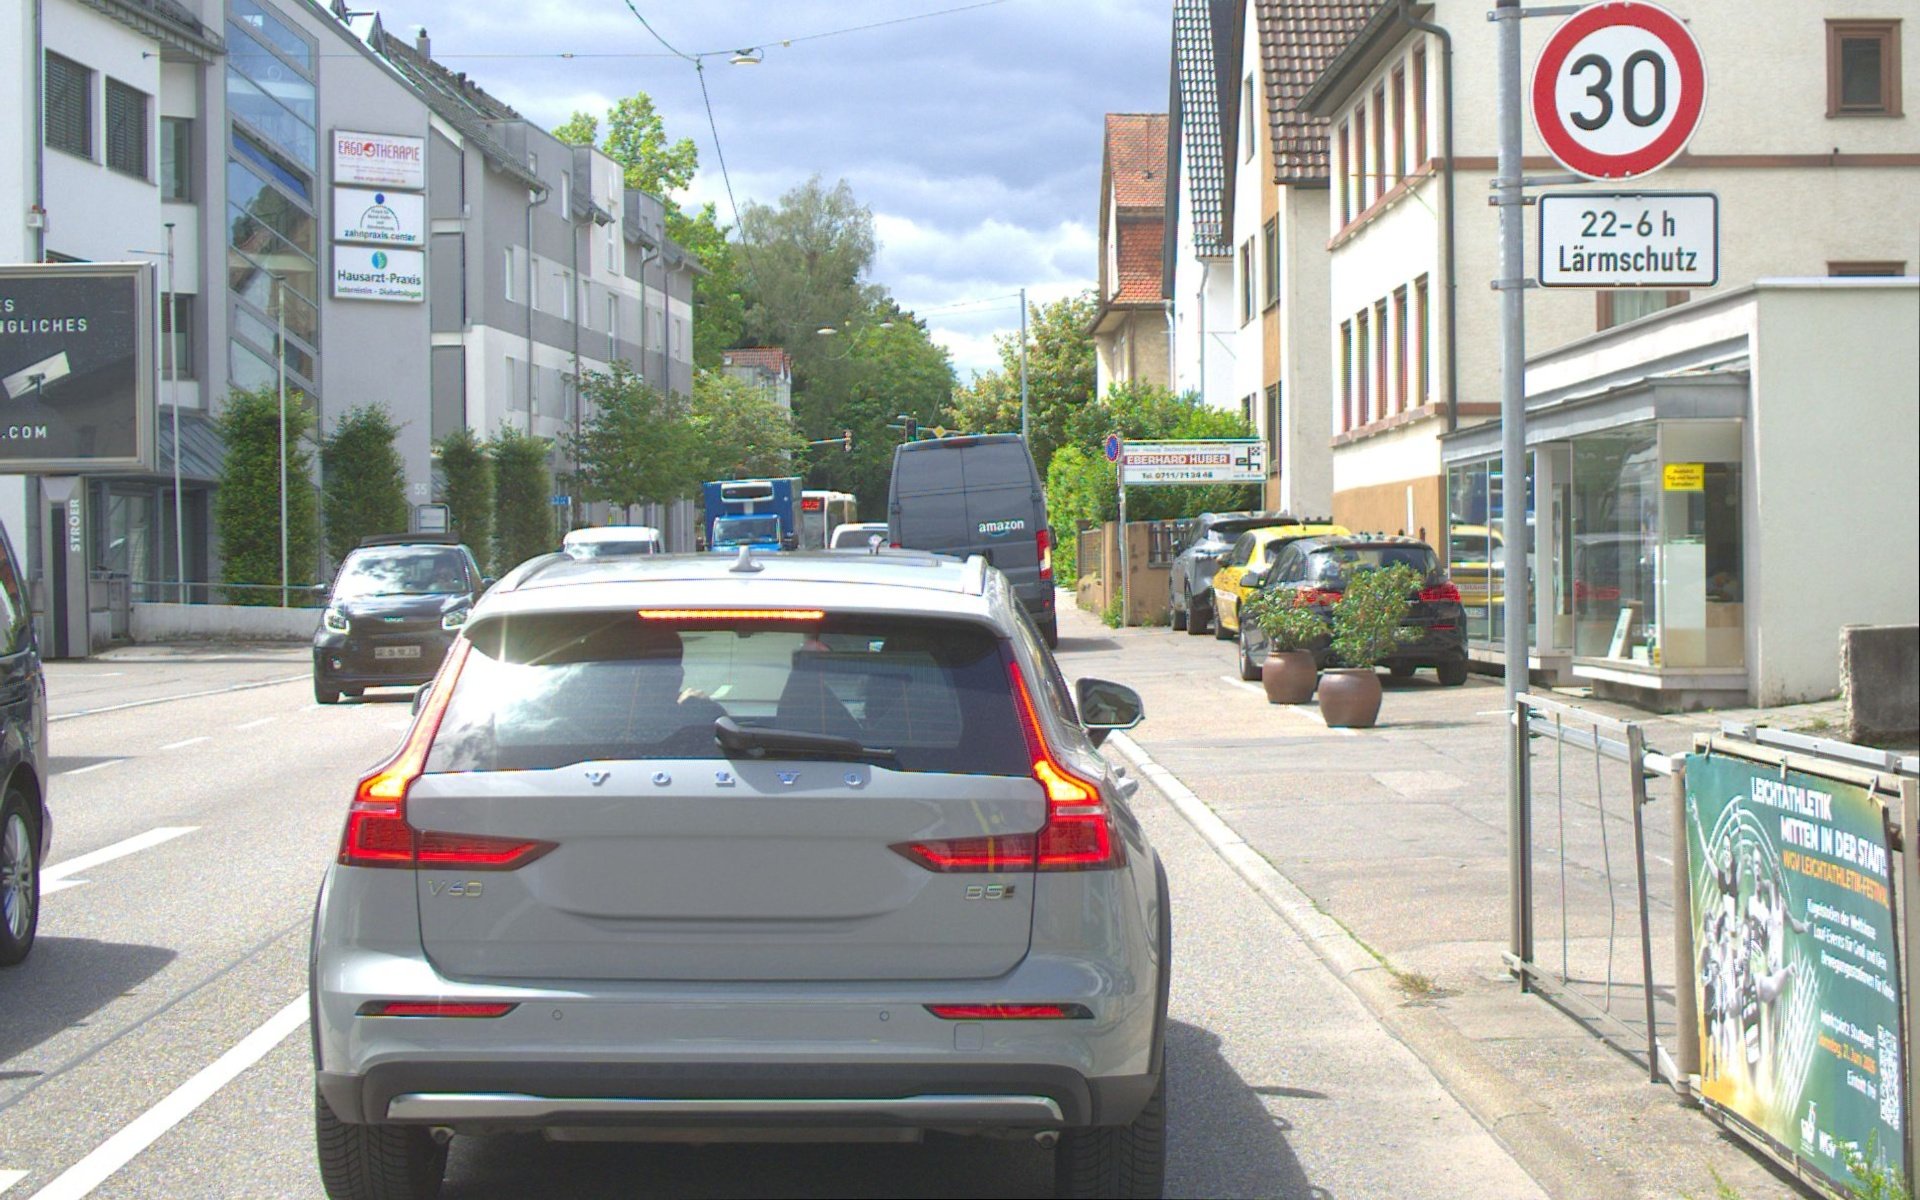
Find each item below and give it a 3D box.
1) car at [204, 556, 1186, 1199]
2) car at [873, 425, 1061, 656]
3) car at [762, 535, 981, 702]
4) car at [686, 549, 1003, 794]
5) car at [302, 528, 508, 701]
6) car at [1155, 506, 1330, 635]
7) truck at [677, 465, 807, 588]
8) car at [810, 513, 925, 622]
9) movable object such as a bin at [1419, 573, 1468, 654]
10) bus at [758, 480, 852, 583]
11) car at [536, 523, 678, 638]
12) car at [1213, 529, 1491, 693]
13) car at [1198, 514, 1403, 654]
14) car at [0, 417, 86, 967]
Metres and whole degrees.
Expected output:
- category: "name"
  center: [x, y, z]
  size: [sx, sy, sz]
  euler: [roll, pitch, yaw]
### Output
- category: "car"
  center: [-0.479, 0.635, 8.632]
  size: [1.896, 1.448, 3.968]
  euler: [0, 1, 1]
- category: "car"
  center: [0.057, -0.785, 44.997]
  size: [2.252, 2.786, 5.569]
  euler: [-1, 1, -1]
- category: "car"
  center: [-0.765, 0.125, 31.920]
  size: [1.896, 1.441, 3.969]
  euler: [0, 1, 0]
- category: "car"
  center: [-0.670, 0.399, 22.592]
  size: [1.896, 1.441, 3.969]
  euler: [0, 1, 1]
- category: "car"
  center: [-5.481, 0.111, 34.240]
  size: [1.676, 1.629, 2.834]
  euler: [-1, 1, -2]
- category: "car"
  center: [3.782, -0.435, 46.785]
  size: [1.860, 1.606, 4.586]
  euler: [-2, 1, -1]
- category: "truck"
  center: [-5.733, -1.929, 91.531]
  size: [2.853, 3.082, 8.089]
  euler: [-1, 1, 0]
- category: "car"
  center: [-1.731, -0.634, 65.484]
  size: [1.993, 2.007, 4.000]
  euler: [0, 1, 1]
- category: "movable object such as a bin"
  center: [5.624, 0.150, 39.987]
  size: [0.501, 0.922, 0.598]
  euler: [-1, 1, 3]
- category: "bus"
  center: [-4.962, -2.208, 111.473]
  size: [2.682, 3.153, 10.185]
  euler: [-1, 1, -1]
- category: "car"
  center: [-5.827, -0.354, 57.198]
  size: [1.945, 1.814, 4.279]
  euler: [-1, 1, -1]
- category: "car"
  center: [3.728, 0.056, 33.493]
  size: [1.968, 1.442, 4.536]
  euler: [-1, 1, -3]
- category: "car"
  center: [4.094, -0.239, 42.001]
  size: [1.877, 1.442, 4.308]
  euler: [-1, 3, -3]
- category: "car"
  center: [-4.211, 0.351, 10.506]
  size: [1.948, 1.870, 4.877]
  euler: [-1, 1, -2]
